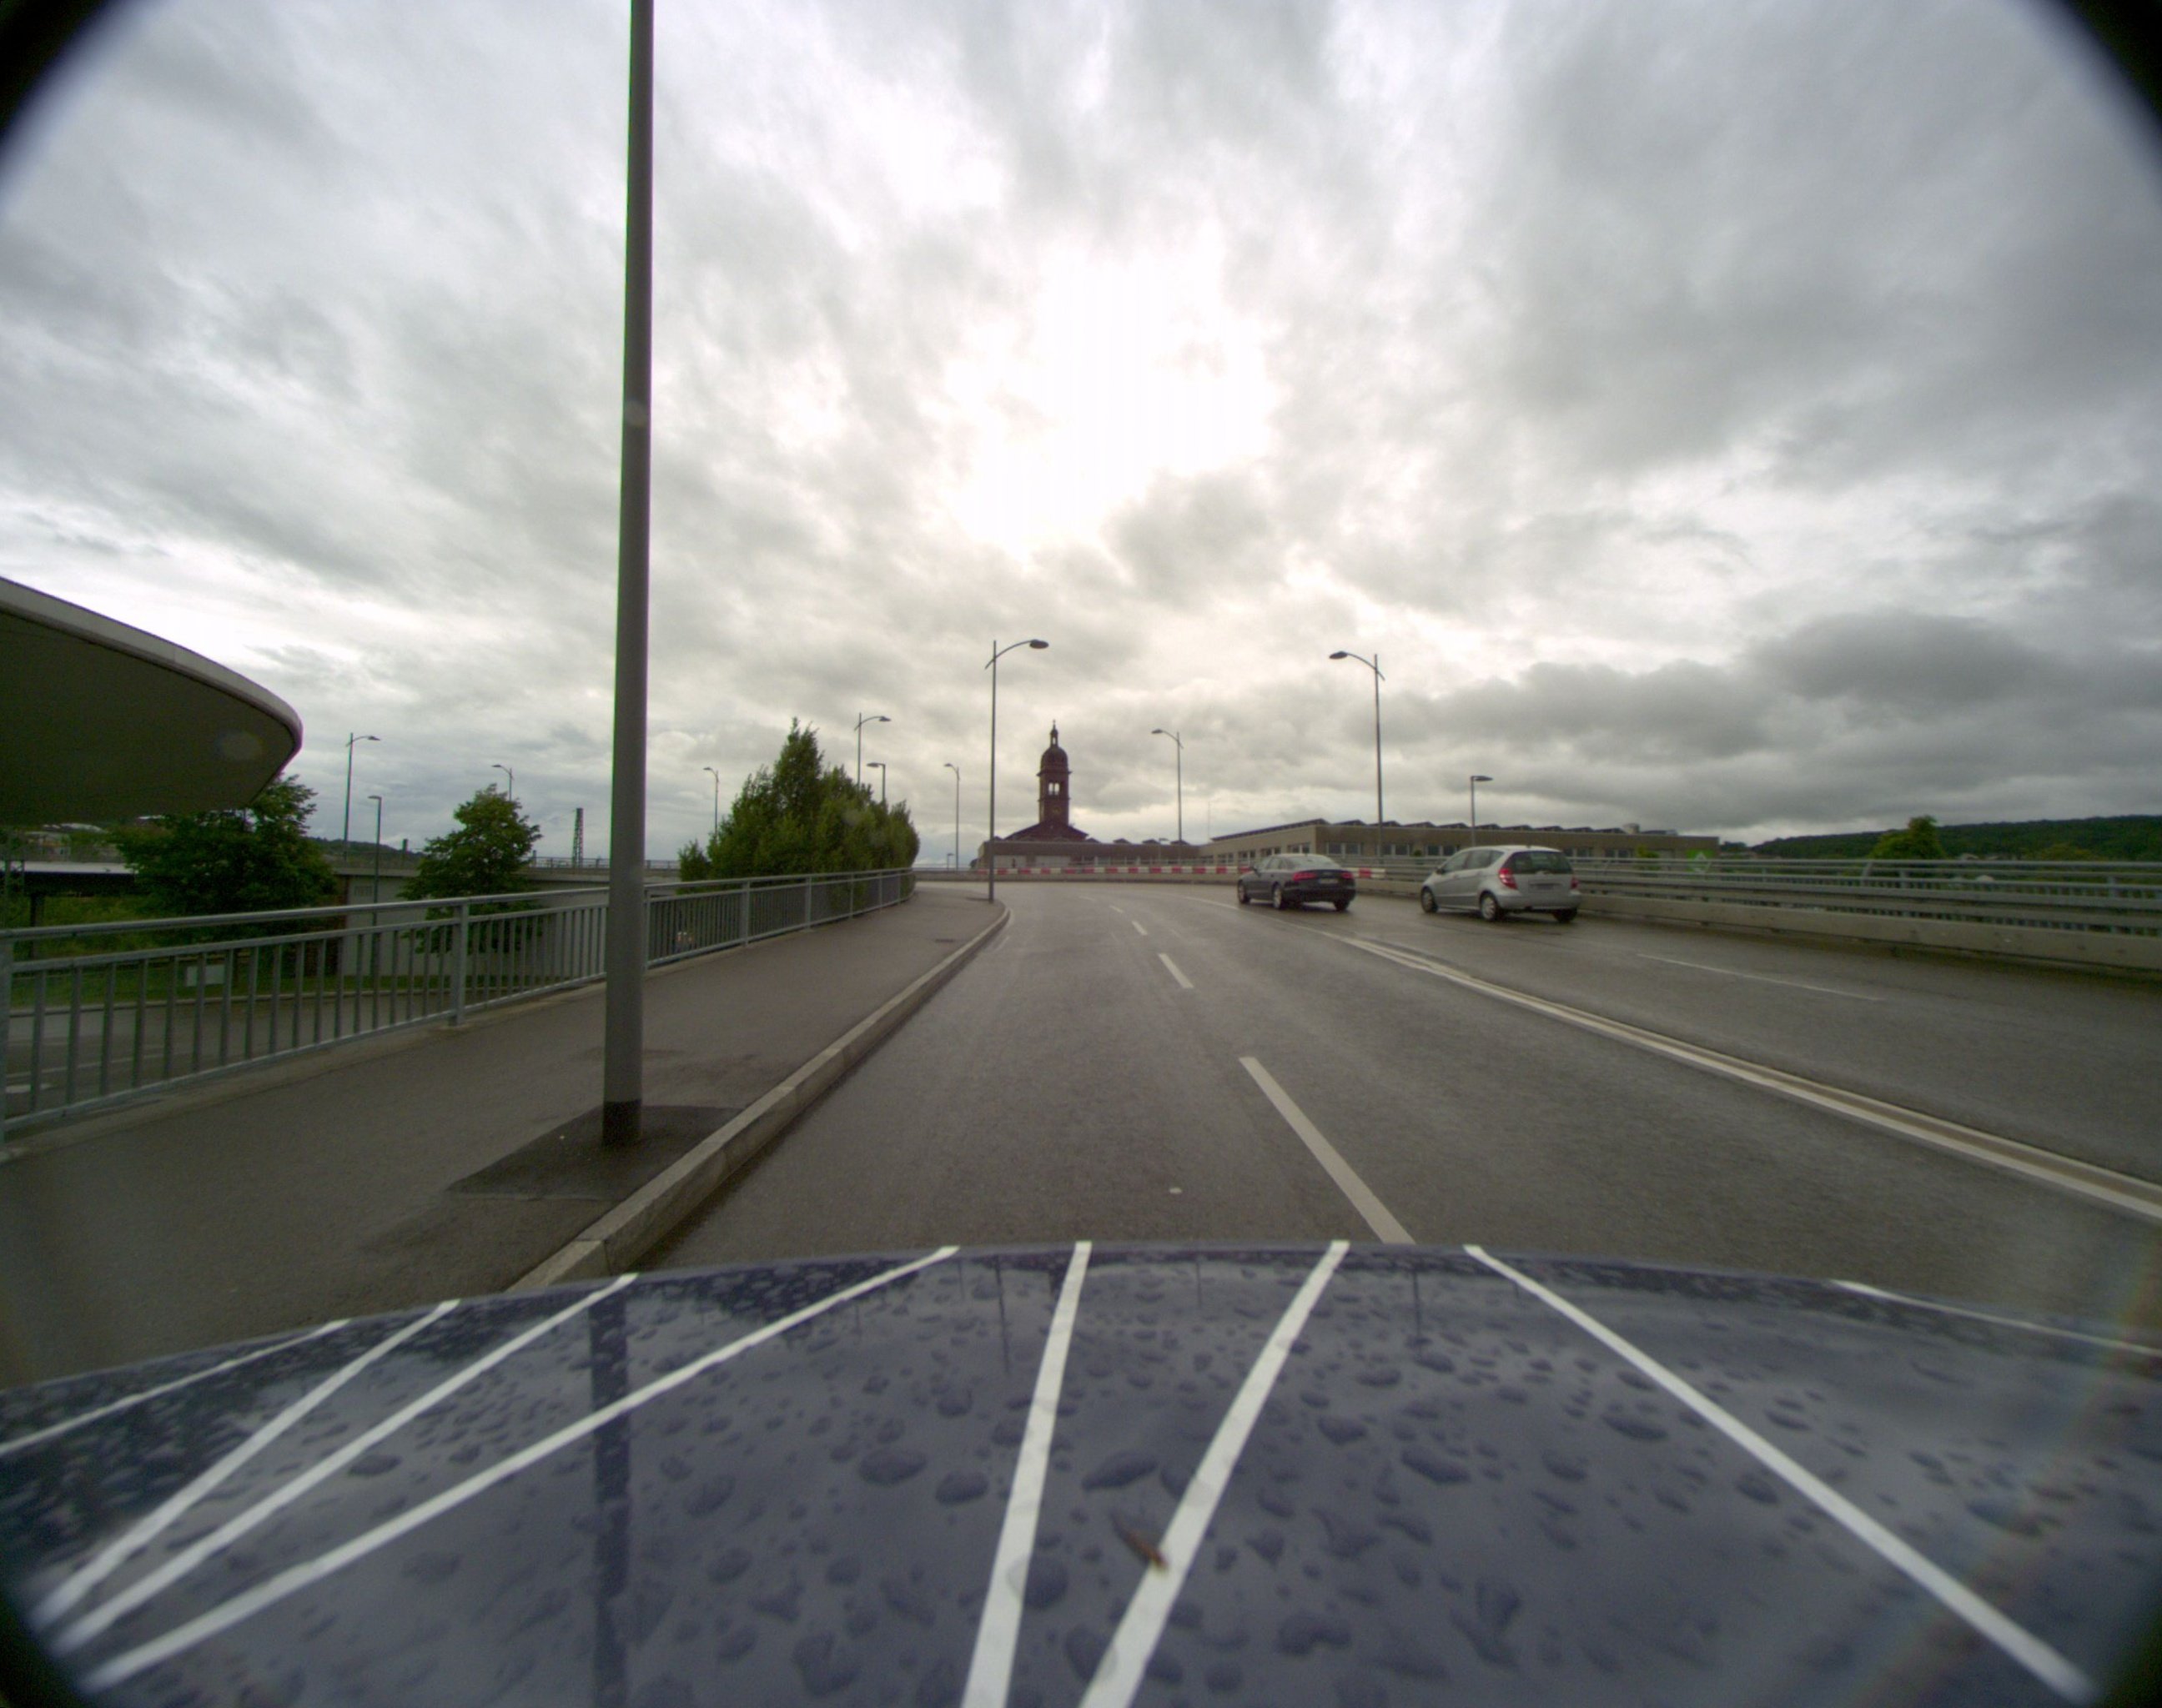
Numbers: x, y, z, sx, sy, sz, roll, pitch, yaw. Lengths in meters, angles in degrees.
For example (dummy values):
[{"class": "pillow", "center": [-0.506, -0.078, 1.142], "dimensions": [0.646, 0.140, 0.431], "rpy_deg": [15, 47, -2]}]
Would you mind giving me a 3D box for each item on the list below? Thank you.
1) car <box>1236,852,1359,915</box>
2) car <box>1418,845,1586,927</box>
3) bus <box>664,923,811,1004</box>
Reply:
[{"class": "car", "center": [5.675, 0.707, 20.553], "dimensions": [1.673, 1.482, 4.455], "rpy_deg": [0, 1, -6]}, {"class": "car", "center": [9.091, 0.605, 16.779], "dimensions": [1.649, 1.599, 3.709], "rpy_deg": [0, 1, 0]}, {"class": "bus", "center": [-21.847, 6.833, 49.555], "dimensions": [2.794, 3.238, 12.145], "rpy_deg": [-2, 1, 6]}]
